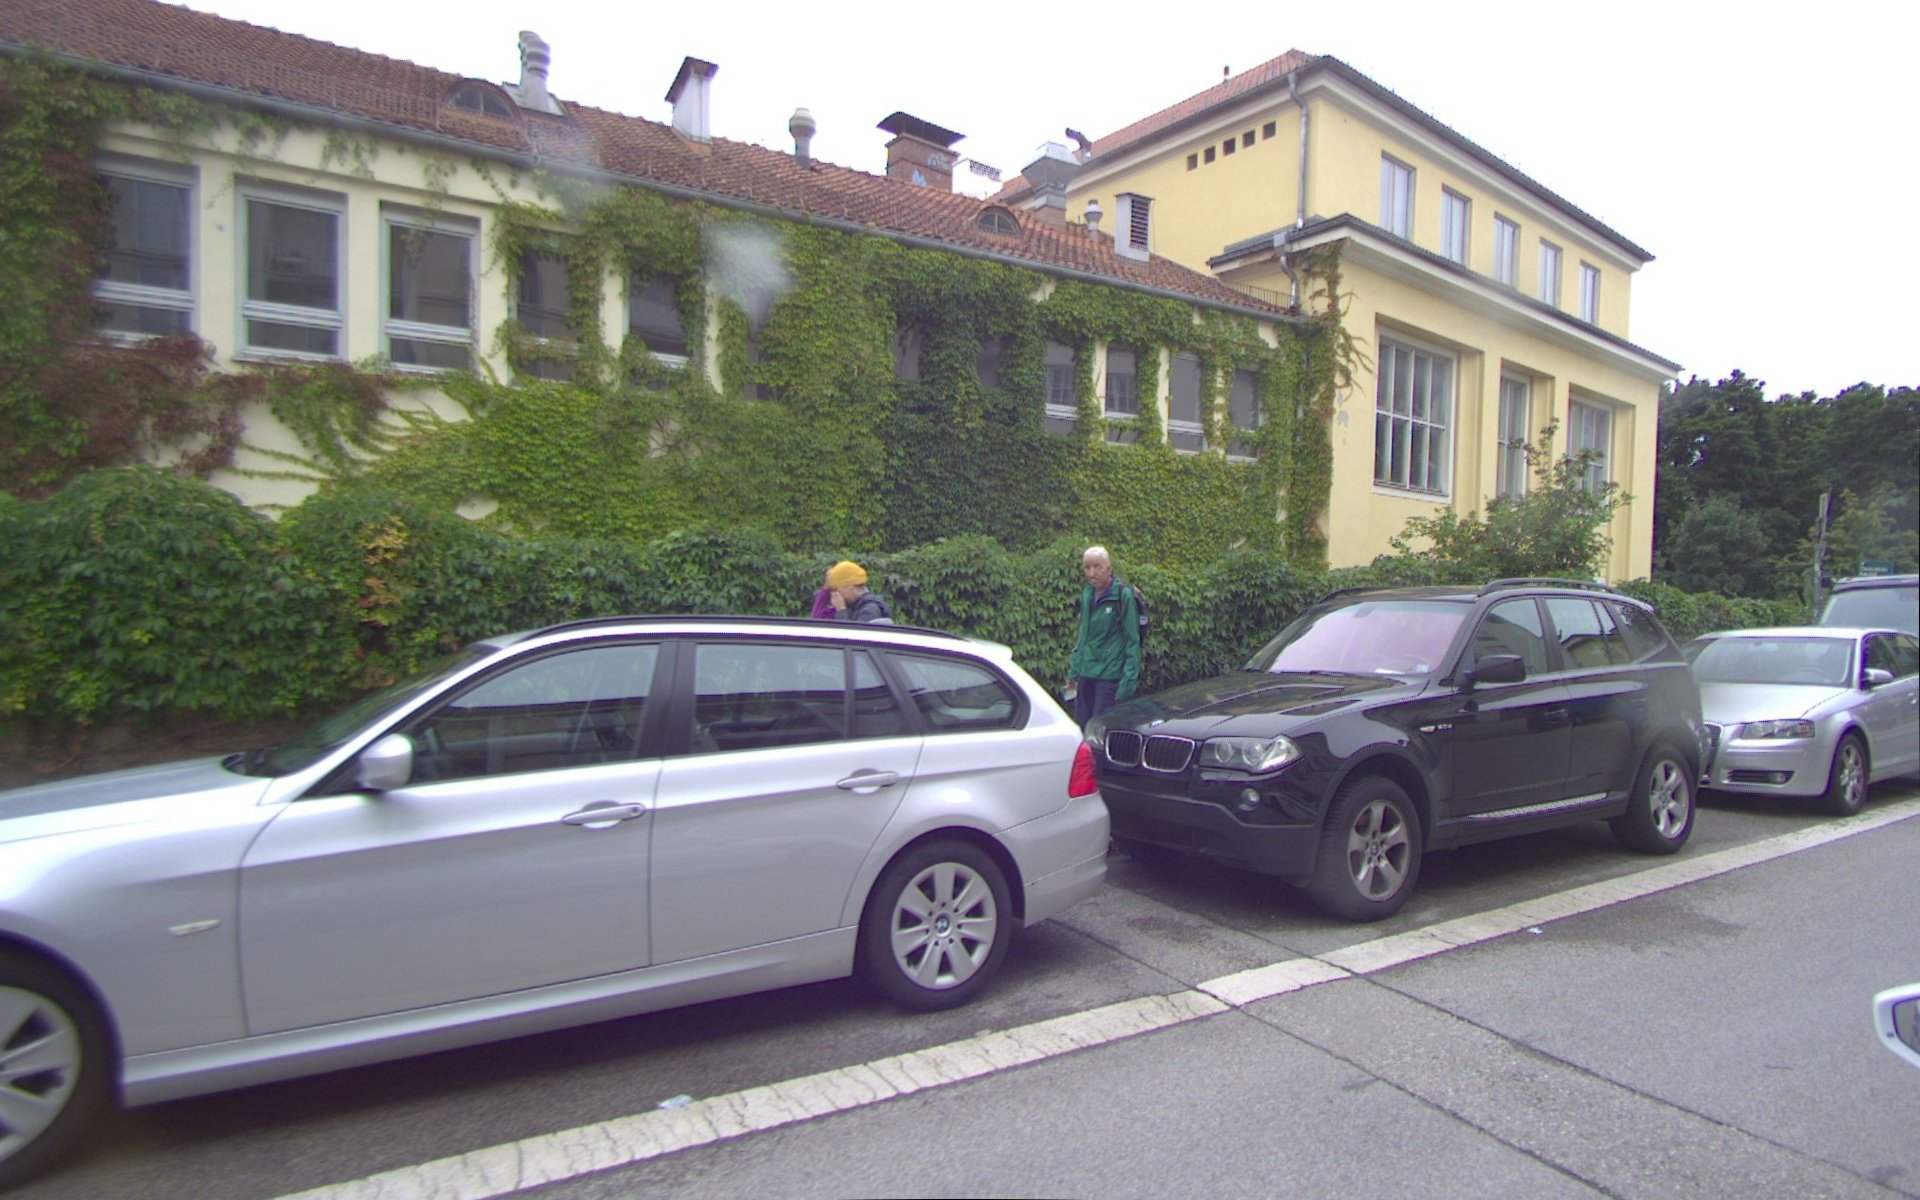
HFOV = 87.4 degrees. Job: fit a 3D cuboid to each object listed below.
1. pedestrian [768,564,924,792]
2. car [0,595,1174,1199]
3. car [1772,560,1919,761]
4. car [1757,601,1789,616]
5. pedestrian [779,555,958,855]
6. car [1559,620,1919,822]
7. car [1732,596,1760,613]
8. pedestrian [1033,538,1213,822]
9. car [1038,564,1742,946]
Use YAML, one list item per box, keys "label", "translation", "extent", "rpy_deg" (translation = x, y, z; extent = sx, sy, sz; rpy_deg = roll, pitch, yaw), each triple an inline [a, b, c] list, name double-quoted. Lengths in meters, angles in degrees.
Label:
- label: "pedestrian"
  translation: [-0.839, 0.517, 7.244]
  extent: [0.861, 1.514, 0.839]
  rpy_deg: [0, 1, -28]
- label: "car"
  translation: [-1.502, 0.759, 3.773]
  extent: [4.437, 1.395, 1.796]
  rpy_deg: [1, -4, -30]
- label: "car"
  translation: [11.317, 0.623, 11.530]
  extent: [4.576, 2.005, 1.913]
  rpy_deg: [0, -2, -35]
- label: "car"
  translation: [92.755, 0.976, 114.626]
  extent: [1.963, 1.622, 4.248]
  rpy_deg: [1, 1, 27]
- label: "pedestrian"
  translation: [-0.565, 0.582, 6.113]
  extent: [0.862, 1.675, 0.679]
  rpy_deg: [0, 1, -30]
- label: "car"
  translation: [7.186, 0.900, 8.779]
  extent: [3.956, 1.383, 1.698]
  rpy_deg: [0, -3, -32]
- label: "car"
  translation: [96.651, 0.575, 123.525]
  extent: [2.036, 1.992, 4.966]
  rpy_deg: [2, 1, 31]
- label: "pedestrian"
  translation: [1.093, 0.496, 6.843]
  extent: [0.861, 1.778, 0.839]
  rpy_deg: [0, 1, -28]
- label: "car"
  translation: [2.778, 0.708, 6.176]
  extent: [4.439, 1.627, 1.694]
  rpy_deg: [1, -2, -31]
